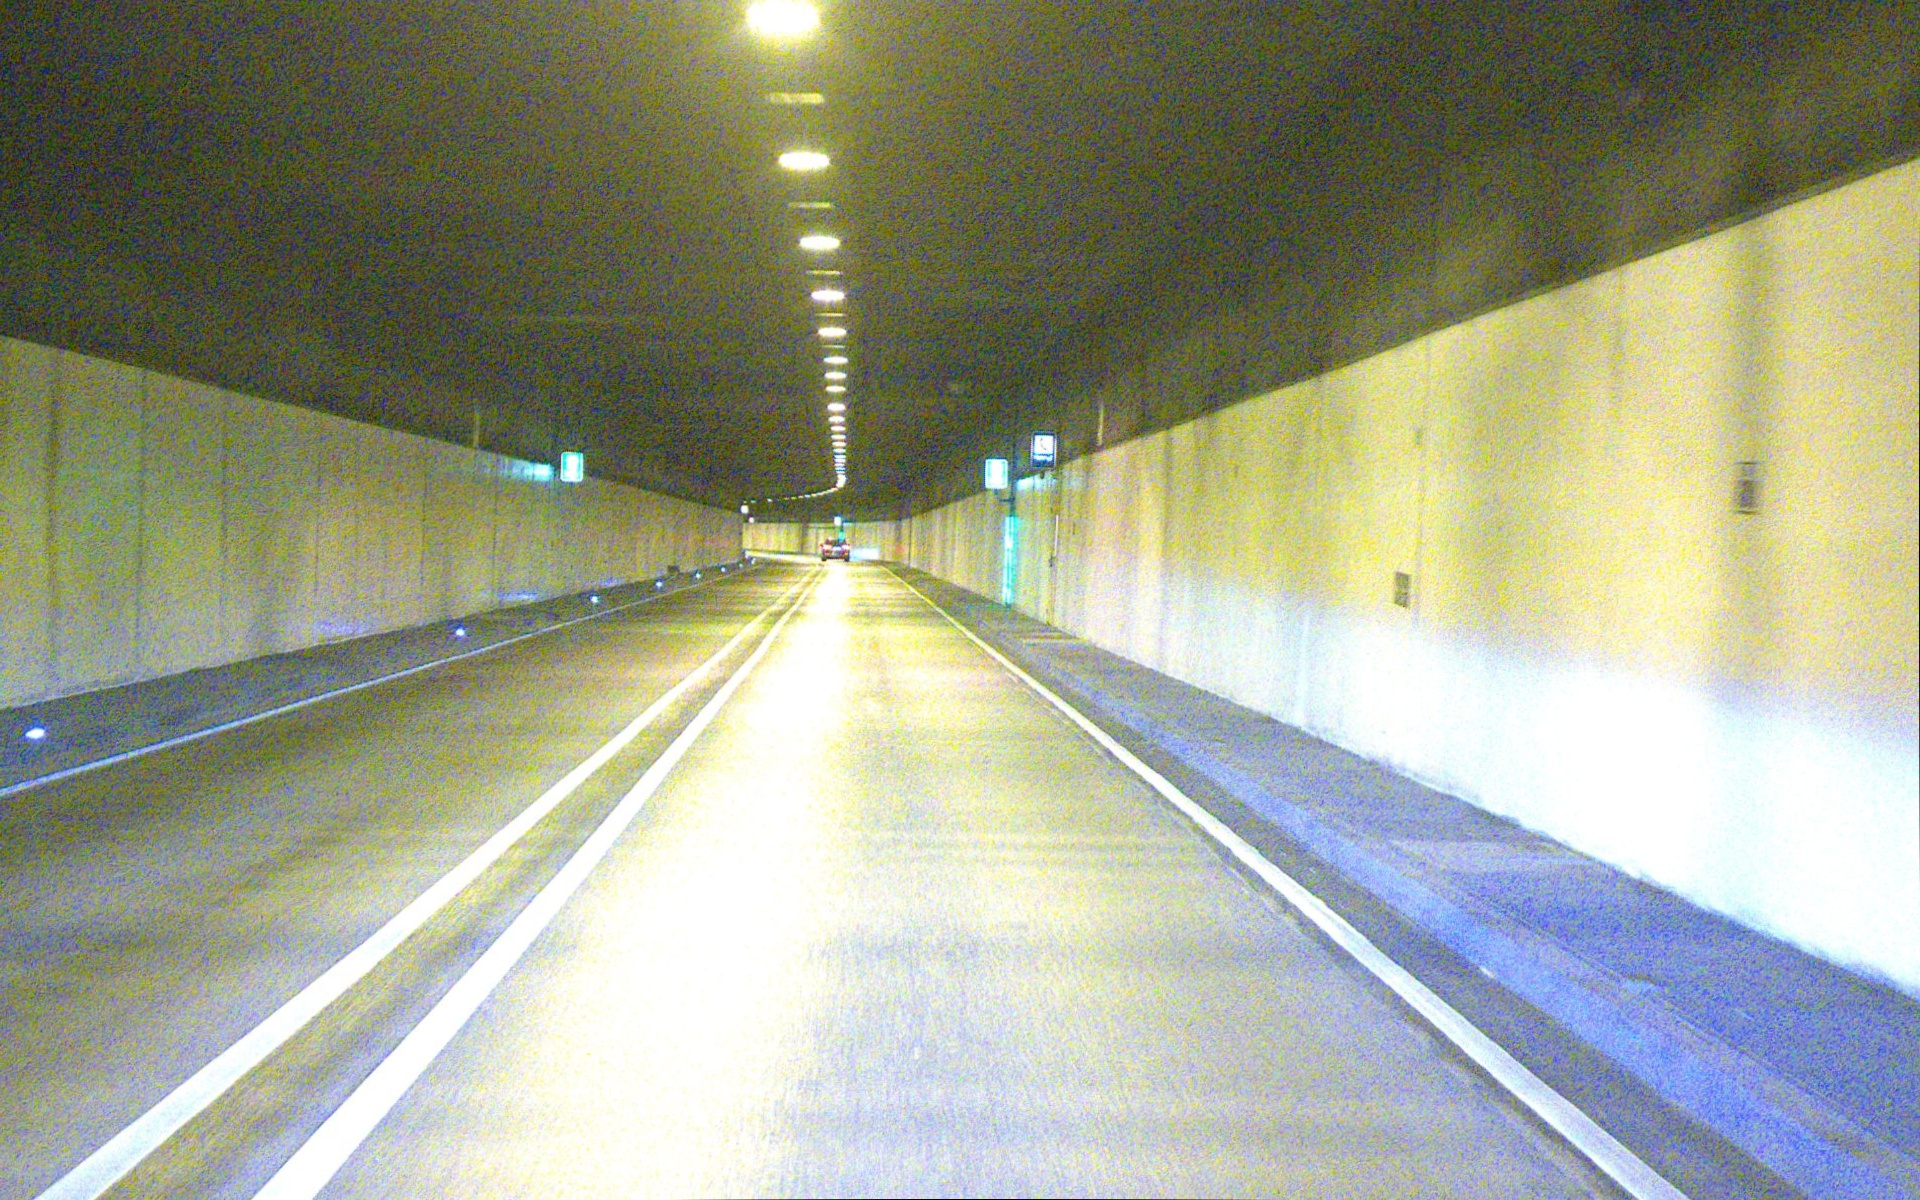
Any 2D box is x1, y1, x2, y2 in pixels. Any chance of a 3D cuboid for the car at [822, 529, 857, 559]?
[{"bbox_3d":[-8.153,-3.774,231.568,1.966,1.932,4.613,1,0,-6],"label":"car"}]
